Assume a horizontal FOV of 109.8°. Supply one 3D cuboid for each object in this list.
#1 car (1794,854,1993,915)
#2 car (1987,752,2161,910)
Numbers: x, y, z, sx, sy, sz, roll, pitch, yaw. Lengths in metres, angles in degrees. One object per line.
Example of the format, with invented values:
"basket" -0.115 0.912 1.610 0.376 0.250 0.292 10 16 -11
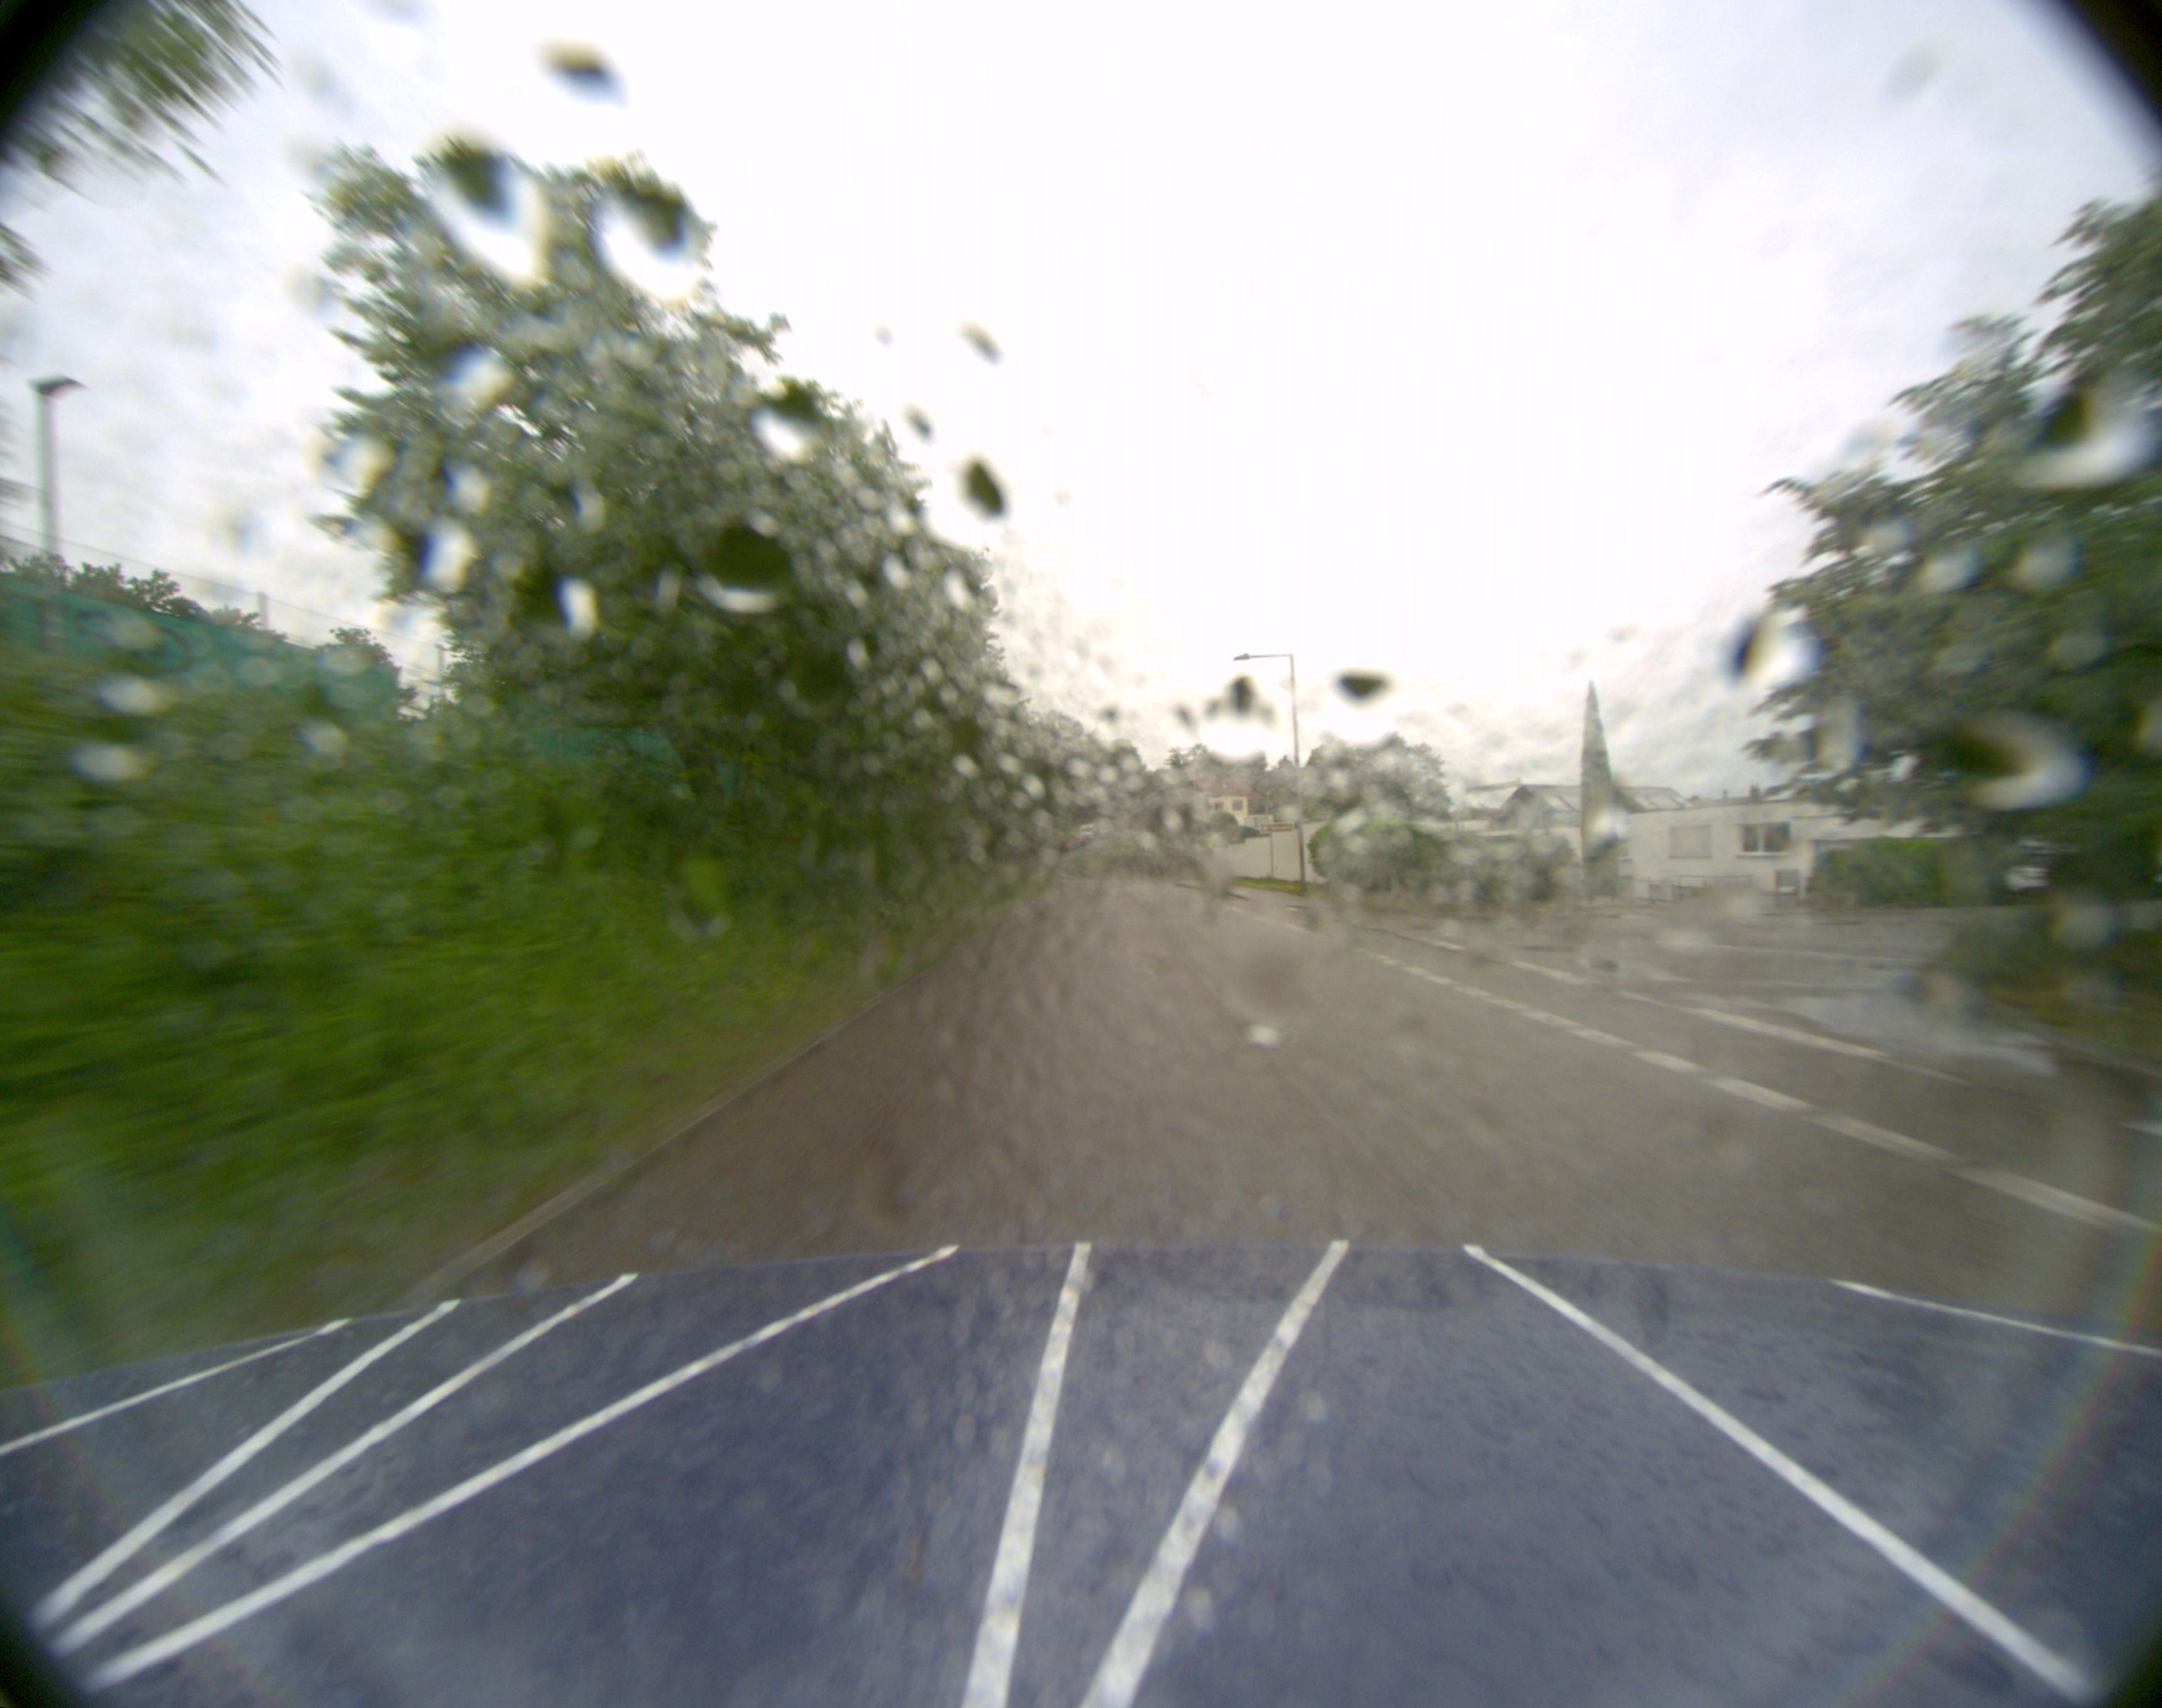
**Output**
"car" 20.931 0.784 19.616 4.003 1.419 1.871 2 -1 -16
"car" 23.433 -0.258 16.100 7.533 2.863 2.821 3 -1 -18
